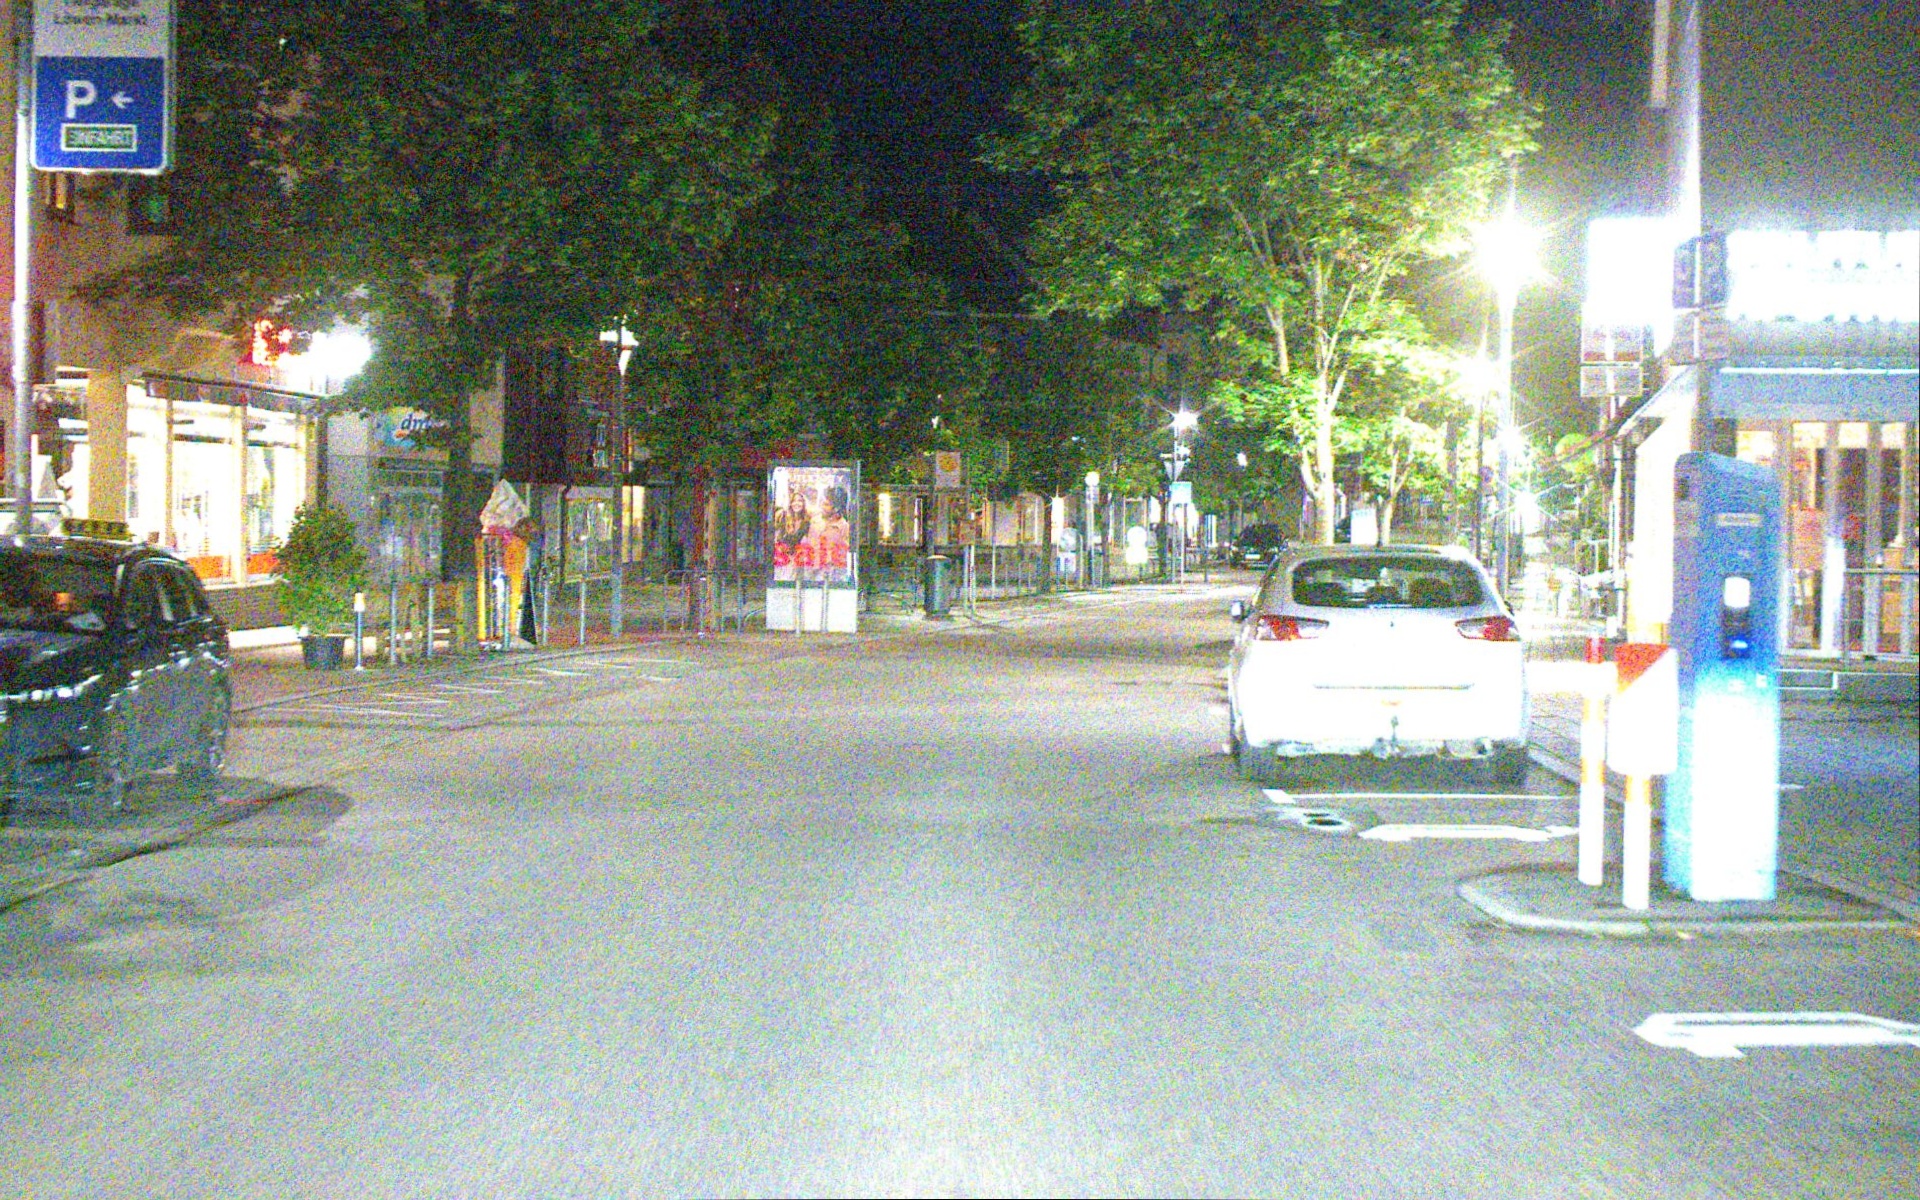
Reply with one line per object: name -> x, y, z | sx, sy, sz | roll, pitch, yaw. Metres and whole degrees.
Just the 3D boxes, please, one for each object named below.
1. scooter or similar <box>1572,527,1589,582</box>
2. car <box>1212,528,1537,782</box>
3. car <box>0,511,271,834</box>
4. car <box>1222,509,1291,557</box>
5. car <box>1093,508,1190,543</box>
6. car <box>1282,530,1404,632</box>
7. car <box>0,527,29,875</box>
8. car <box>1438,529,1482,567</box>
scooter or similar -> 14.455, -1.055, 80.074 | 0.373, 1.272, 1.305 | 0, 0, 11
car -> 2.598, 0.308, 22.465 | 1.742, 1.482, 4.636 | 0, 0, 2
car -> -5.267, 0.308, 19.714 | 1.758, 1.631, 4.815 | 0, 1, -1
car -> 11.190, -2.527, 129.415 | 2.019, 1.685, 5.001 | 2, 2, 11
car -> 8.485, -3.487, 160.644 | 4.170, 1.433, 1.840 | -2, 1, 14
car -> 5.733, -0.315, 51.838 | 1.734, 1.436, 4.496 | 0, 2, 5
car -> -5.097, 0.475, 13.245 | 1.905, 1.536, 4.783 | 1, 1, -3
car -> 19.432, -2.031, 133.467 | 1.675, 1.454, 3.675 | 0, 2, 9
